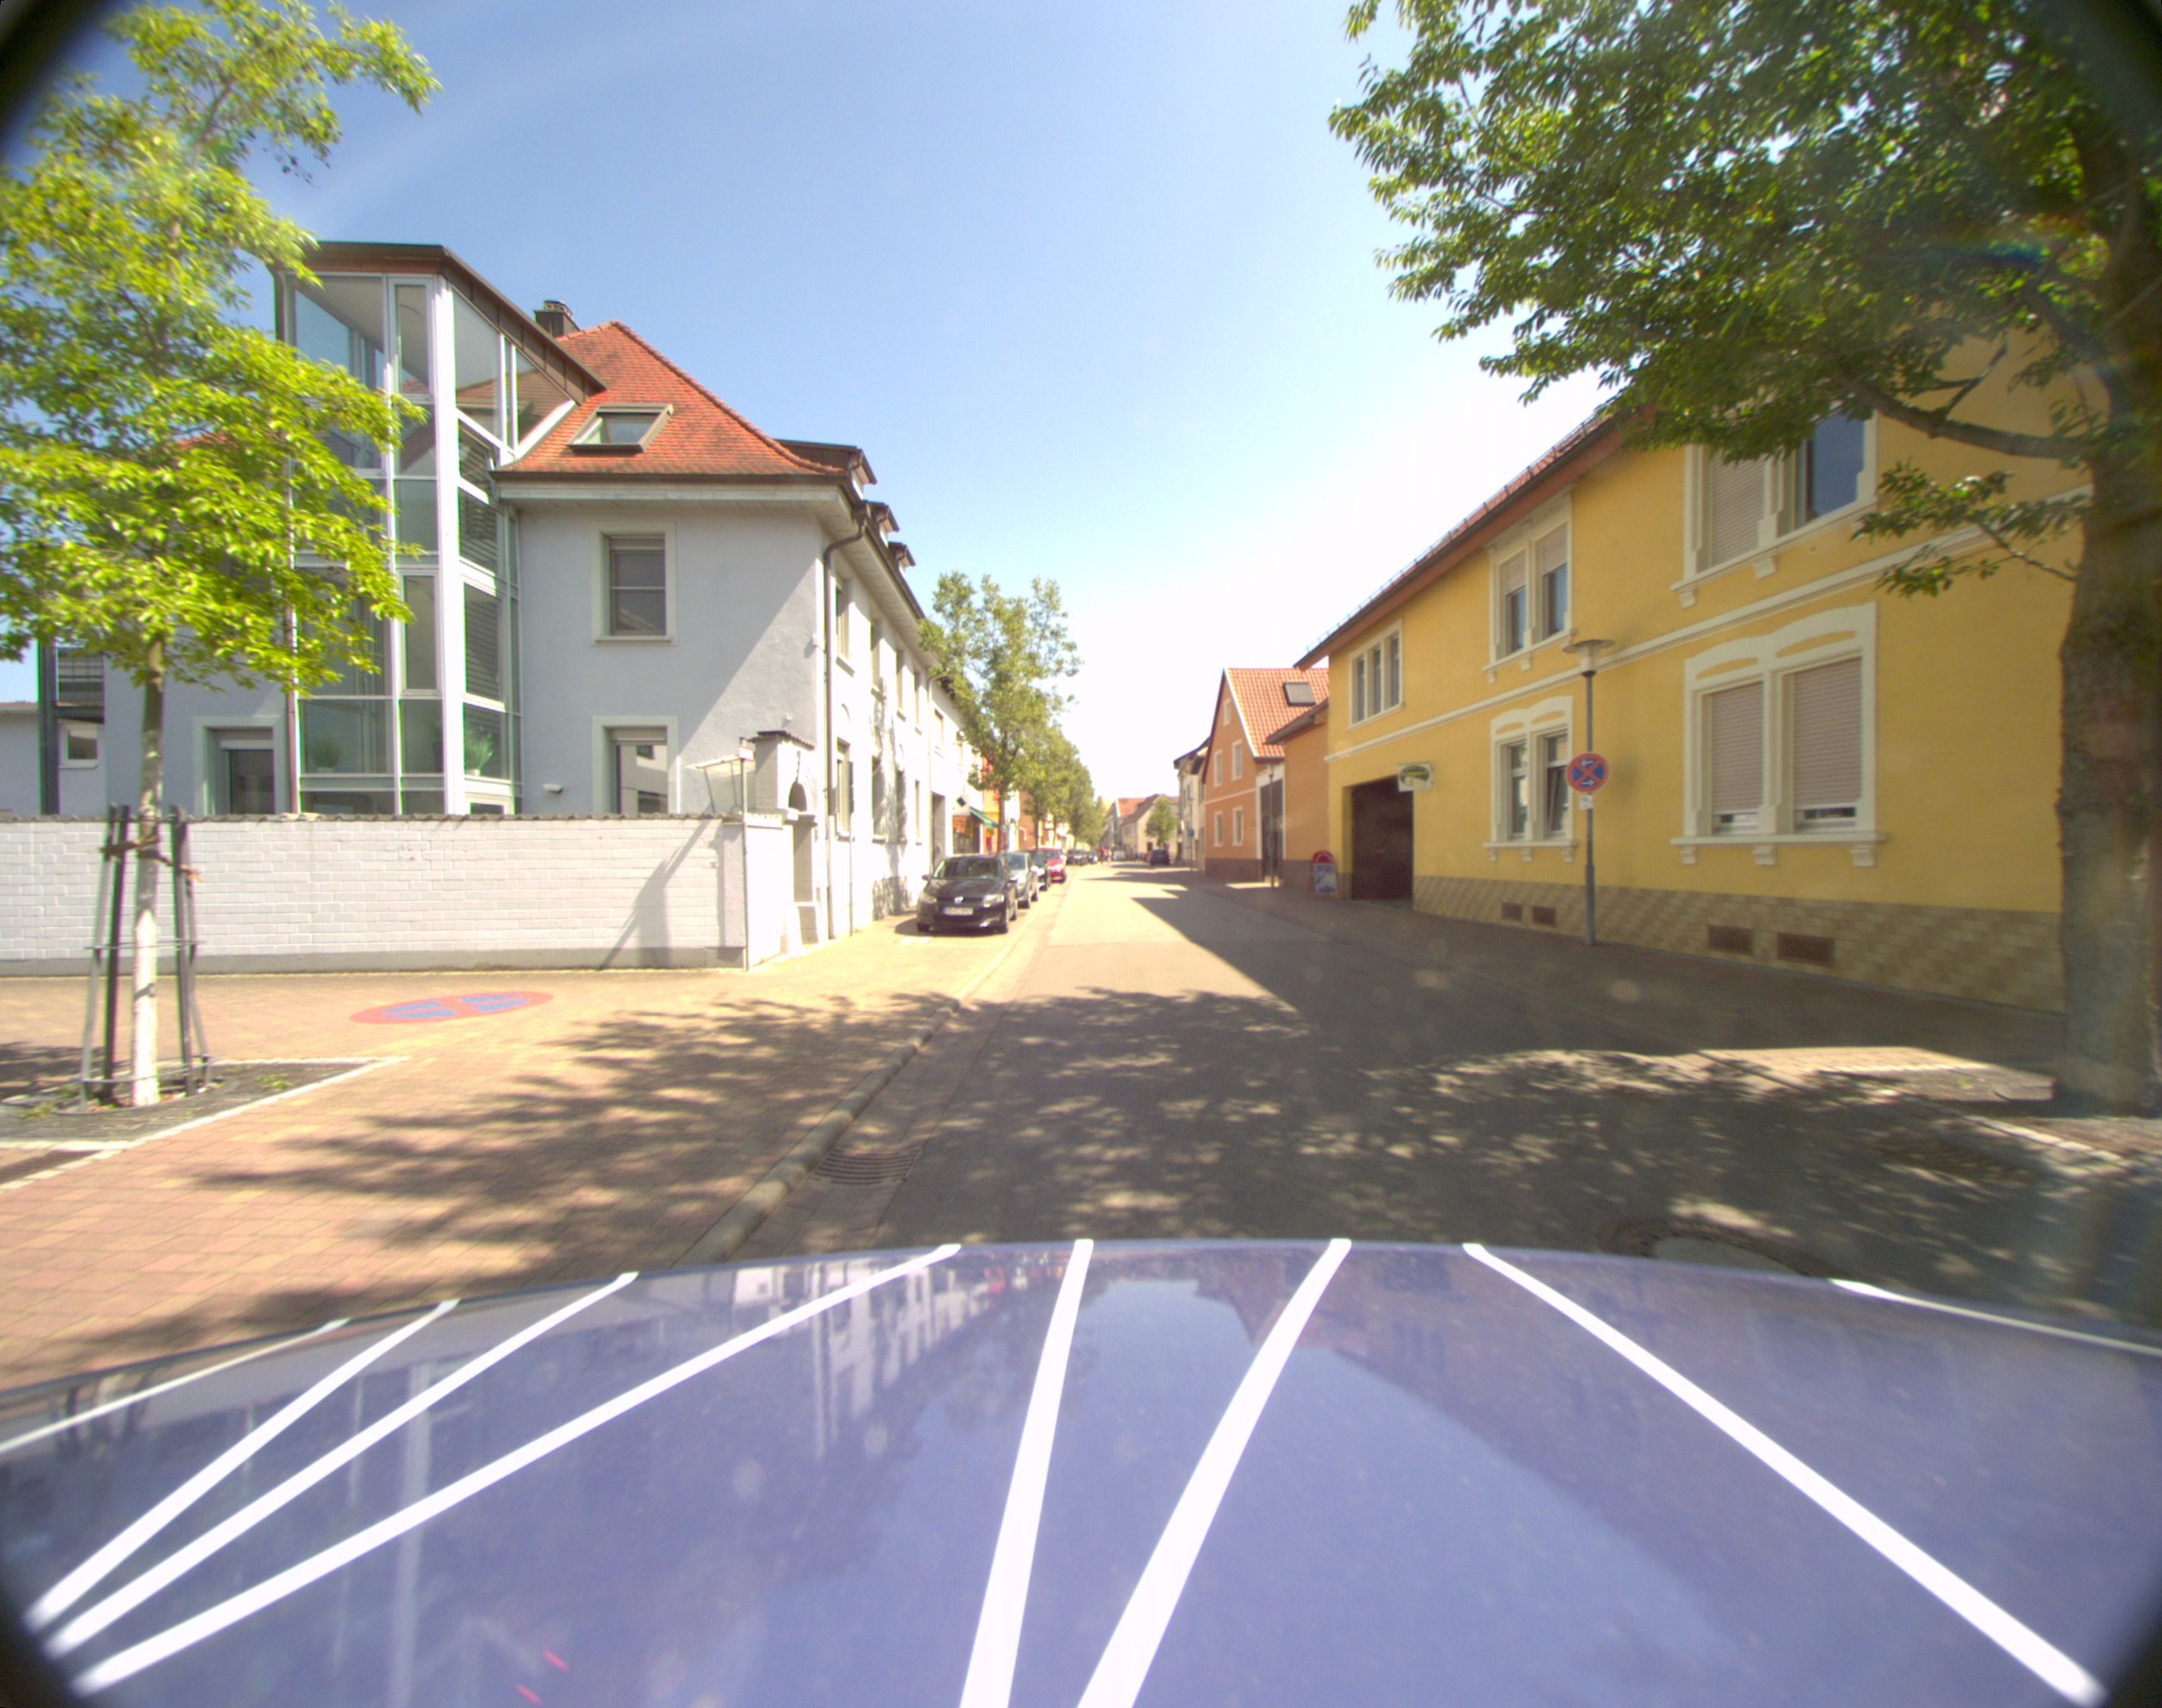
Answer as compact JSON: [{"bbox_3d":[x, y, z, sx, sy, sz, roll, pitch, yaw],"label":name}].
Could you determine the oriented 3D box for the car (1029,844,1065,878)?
[{"bbox_3d":[-1.872,0.328,43.276,1.871,1.675,4.660,-2,2,-1],"label":"car"}]

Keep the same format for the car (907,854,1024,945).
[{"bbox_3d":[-2.148,0.791,15.108,1.708,1.473,3.921,1,1,0],"label":"car"}]

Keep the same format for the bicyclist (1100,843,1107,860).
[{"bbox_3d":[2.428,-0.276,80.862,0.645,1.766,0.722,2,0,7],"label":"bicyclist"}]

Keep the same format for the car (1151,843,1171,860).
[{"bbox_3d":[7.627,-0.278,72.486,1.863,1.620,4.048,0,1,7],"label":"car"}]

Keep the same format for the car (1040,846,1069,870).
[{"bbox_3d":[-1.663,0.238,49.488,1.715,1.534,3.997,0,0,0],"label":"car"}]

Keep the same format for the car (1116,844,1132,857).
[{"bbox_3d":[7.597,-0.687,135.278,2.443,2.224,4.959,0,1,-2],"label":"car"}]

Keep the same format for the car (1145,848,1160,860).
[{"bbox_3d":[9.723,0.029,103.047,1.571,1.452,3.802,2,-1,0],"label":"car"}]

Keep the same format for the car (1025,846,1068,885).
[{"bbox_3d":[-1.566,0.480,34.665,1.834,1.579,4.086,-2,1,-2],"label":"car"}]

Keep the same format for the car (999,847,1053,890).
[{"bbox_3d":[-2.001,0.502,28.497,1.741,1.504,3.735,0,0,0],"label":"car"}]

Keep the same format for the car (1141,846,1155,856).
[{"bbox_3d":[9.645,-0.440,109.396,1.572,1.452,3.800,0,1,-3],"label":"car"}]

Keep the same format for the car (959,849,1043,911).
[{"bbox_3d":[-2.079,0.626,20.742,1.721,1.473,4.095,1,1,2],"label":"car"}]

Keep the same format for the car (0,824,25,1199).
[{"bbox_3d":[-7.355,0.690,2.486,4.643,1.761,2.147,1,0,-2],"label":"car"}]

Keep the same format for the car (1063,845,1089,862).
[{"bbox_3d":[-0.455,-0.086,72.566,1.928,1.594,4.110,0,1,8],"label":"car"}]

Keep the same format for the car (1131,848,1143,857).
[{"bbox_3d":[9.208,-0.318,124.888,1.572,1.452,3.800,0,1,-3],"label":"car"}]

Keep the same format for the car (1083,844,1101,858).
[{"bbox_3d":[1.384,-0.402,94.521,1.998,1.759,4.109,0,1,4],"label":"car"}]

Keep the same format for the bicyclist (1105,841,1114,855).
[{"bbox_3d":[3.317,-0.708,87.438,1.028,1.635,1.025,0,1,4],"label":"bicyclist"}]

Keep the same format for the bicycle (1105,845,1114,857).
[{"bbox_3d":[3.314,-0.316,87.296,0.959,1.363,2.406,0,1,4],"label":"bicycle"}]

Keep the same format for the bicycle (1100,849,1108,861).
[{"bbox_3d":[2.413,0.123,80.825,0.635,1.227,1.895,2,-1,7],"label":"bicycle"}]
